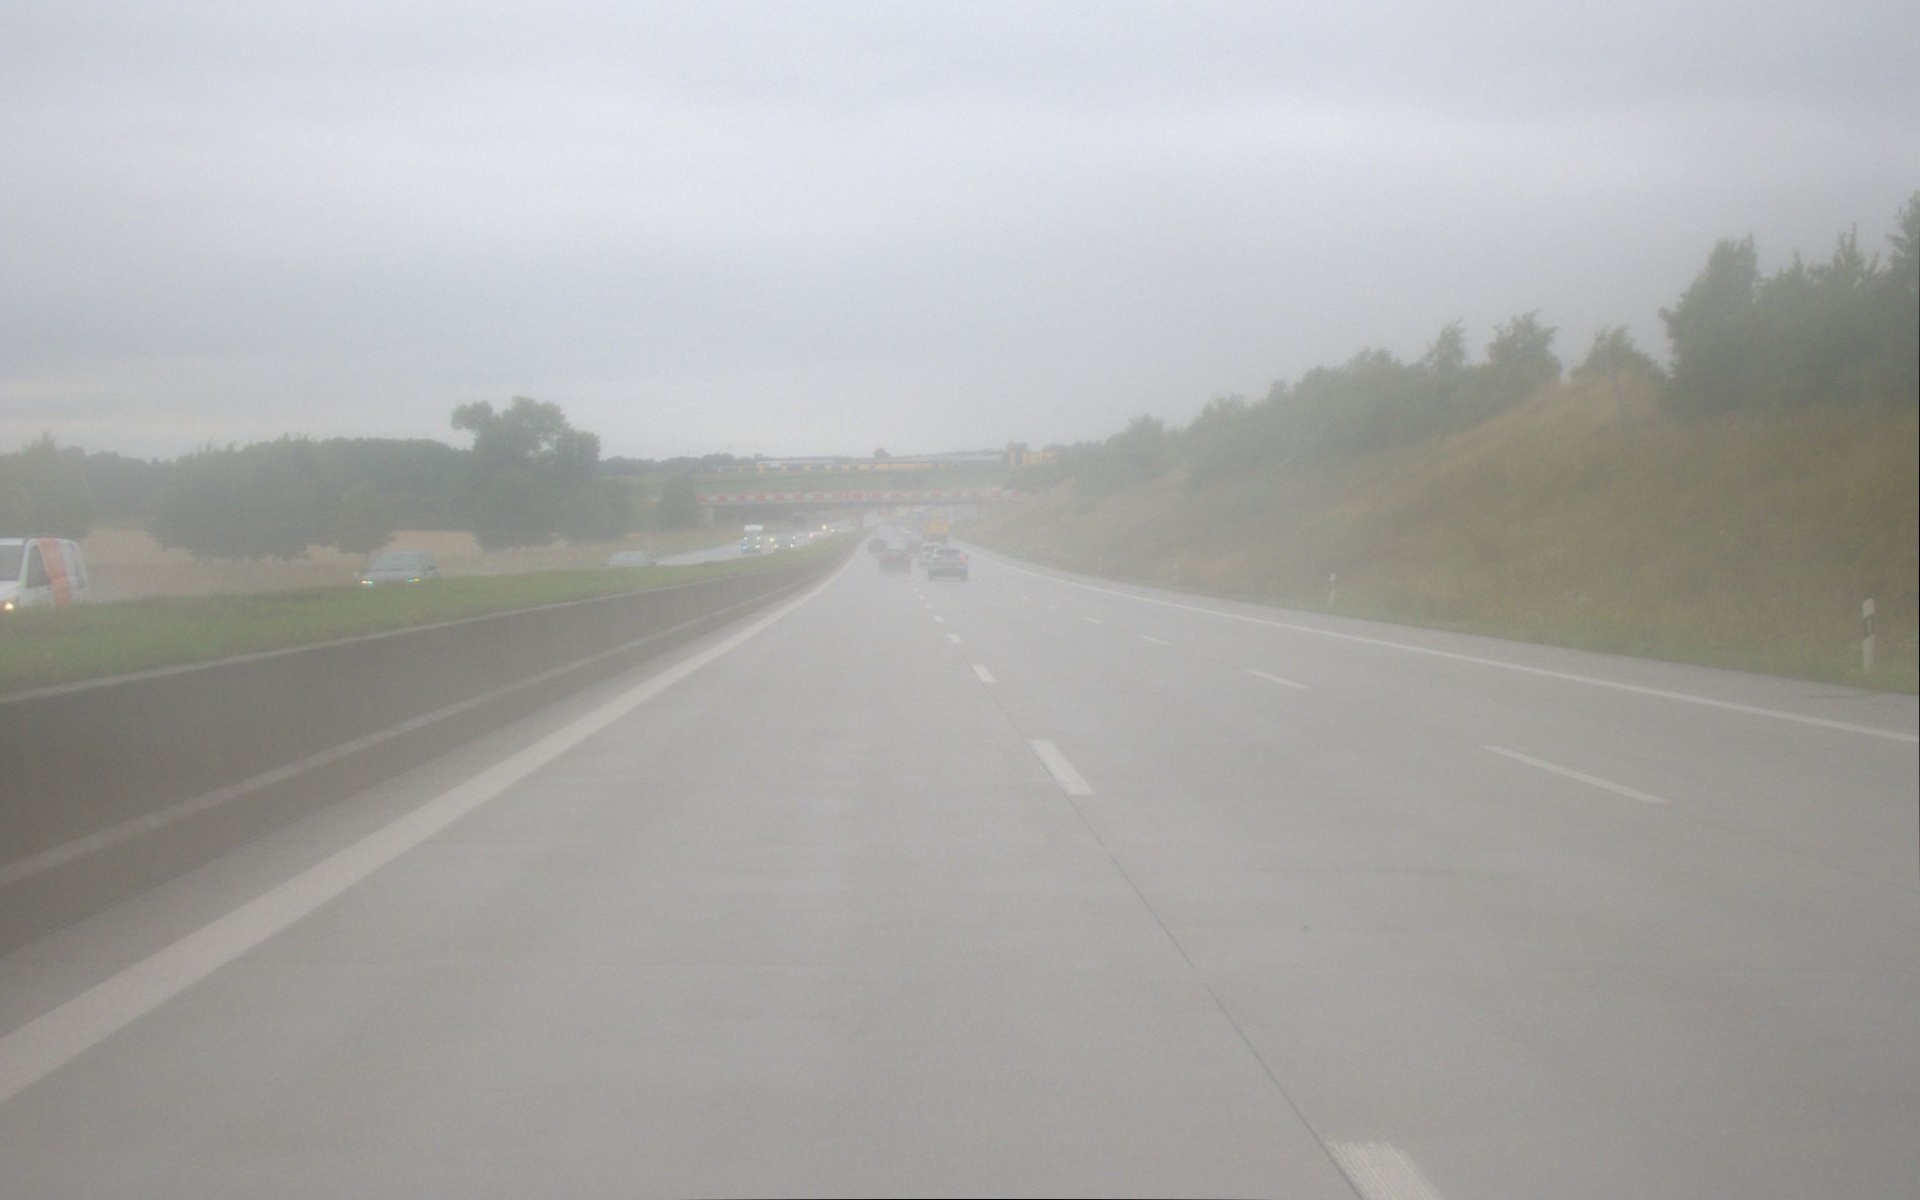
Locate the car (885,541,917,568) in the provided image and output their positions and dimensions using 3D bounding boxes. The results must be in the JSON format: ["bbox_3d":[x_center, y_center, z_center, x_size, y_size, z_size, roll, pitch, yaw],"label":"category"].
[{"bbox_3d":[-3.198,-2.492,187.873,1.729,1.326,4.430,1,2,-1],"label":"car"}]

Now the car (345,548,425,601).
[{"bbox_3d":[-15.690,-0.710,94.016,1.601,1.382,4.624,0,1,-2],"label":"car"}]

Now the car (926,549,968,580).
[{"bbox_3d":[-0.637,-1.721,164.913,1.847,1.326,4.431,0,2,-3],"label":"car"}]

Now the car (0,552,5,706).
[{"bbox_3d":[-10.038,0.330,30.938,1.727,1.475,4.455,-1,1,-2],"label":"car"}]
